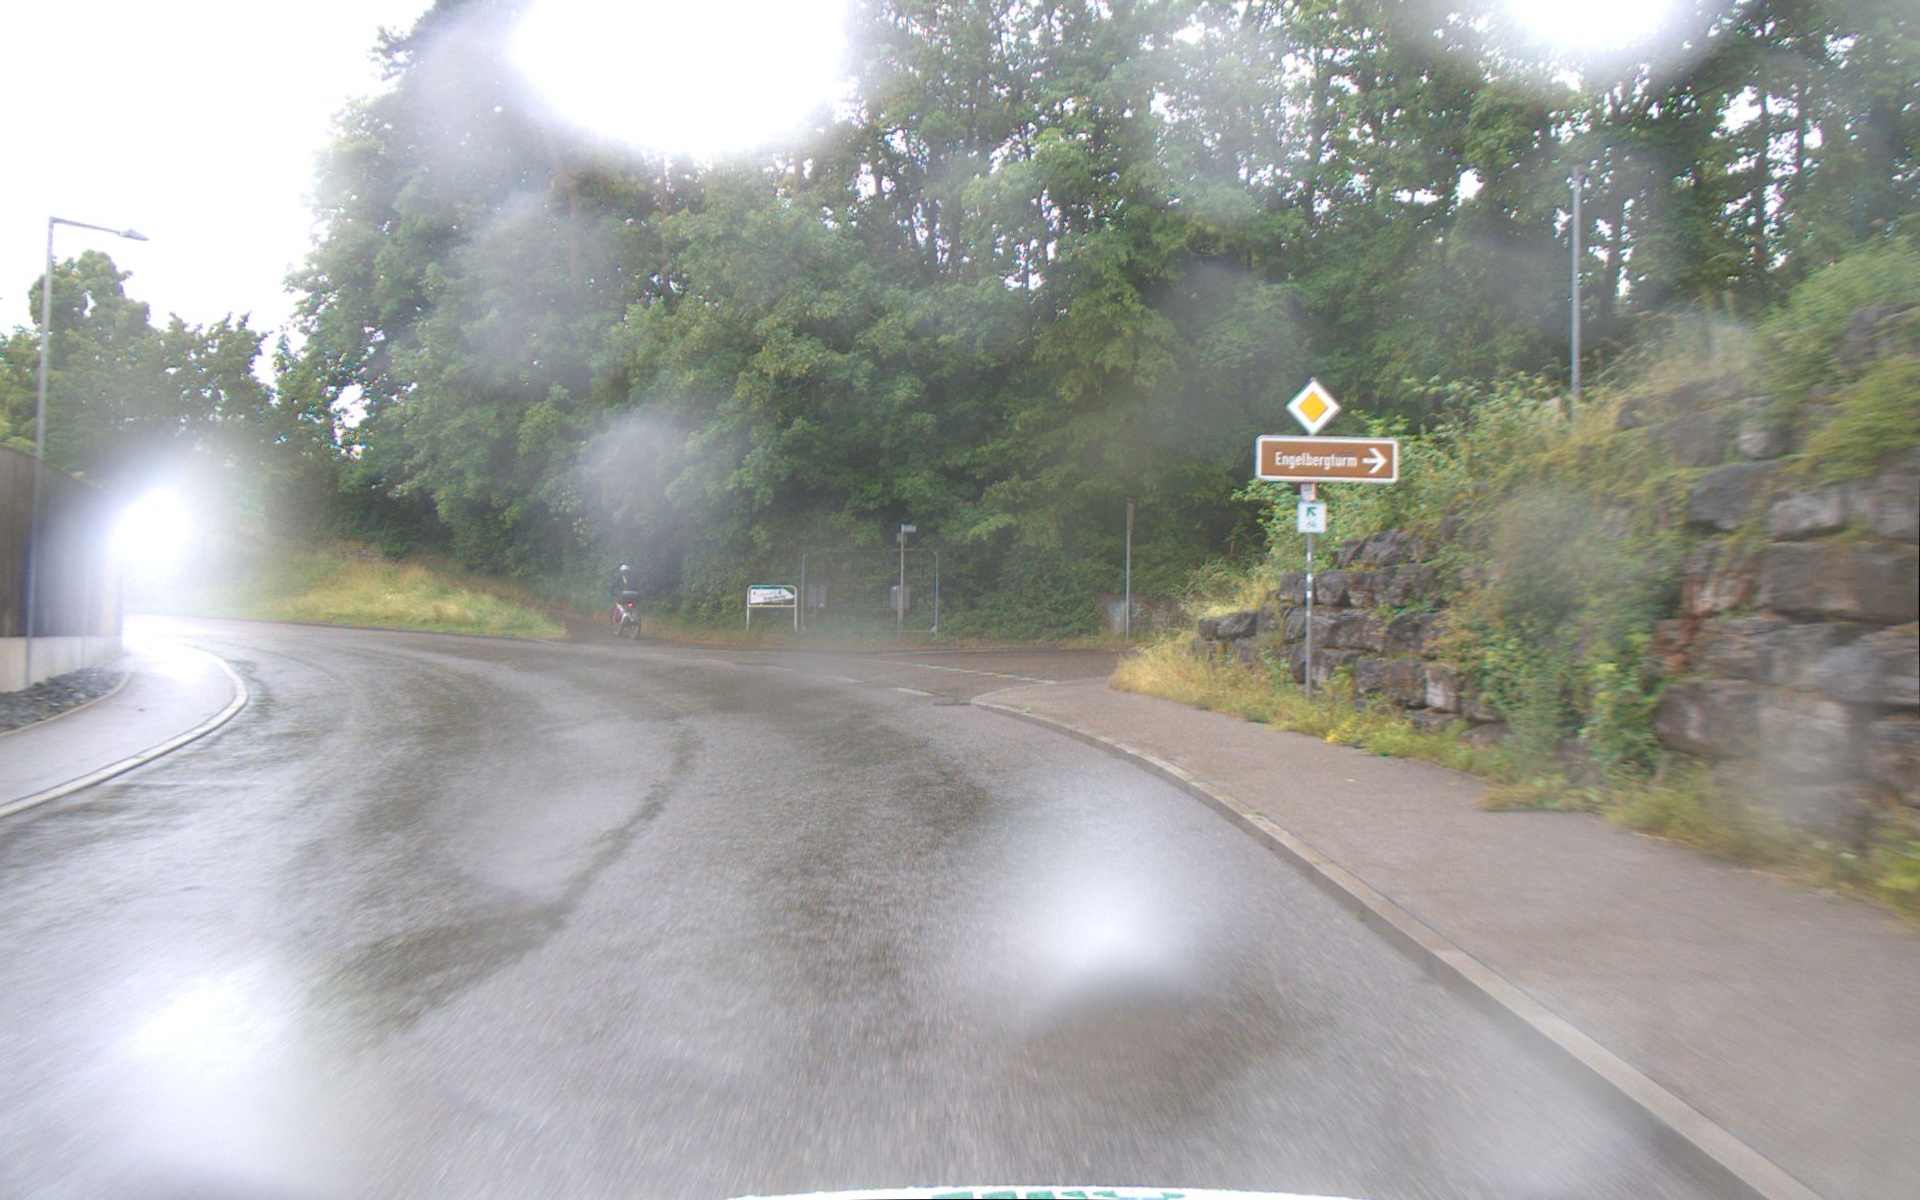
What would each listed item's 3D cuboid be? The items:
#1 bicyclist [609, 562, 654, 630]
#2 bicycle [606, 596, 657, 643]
[{"bbox_3d":[-8.040,-0.108,40.482,0.716,1.643,0.892,1,0,-39],"label":"bicyclist"},{"bbox_3d":[-8.060,0.467,40.531,0.524,1.104,1.597,1,0,-40],"label":"bicycle"}]
